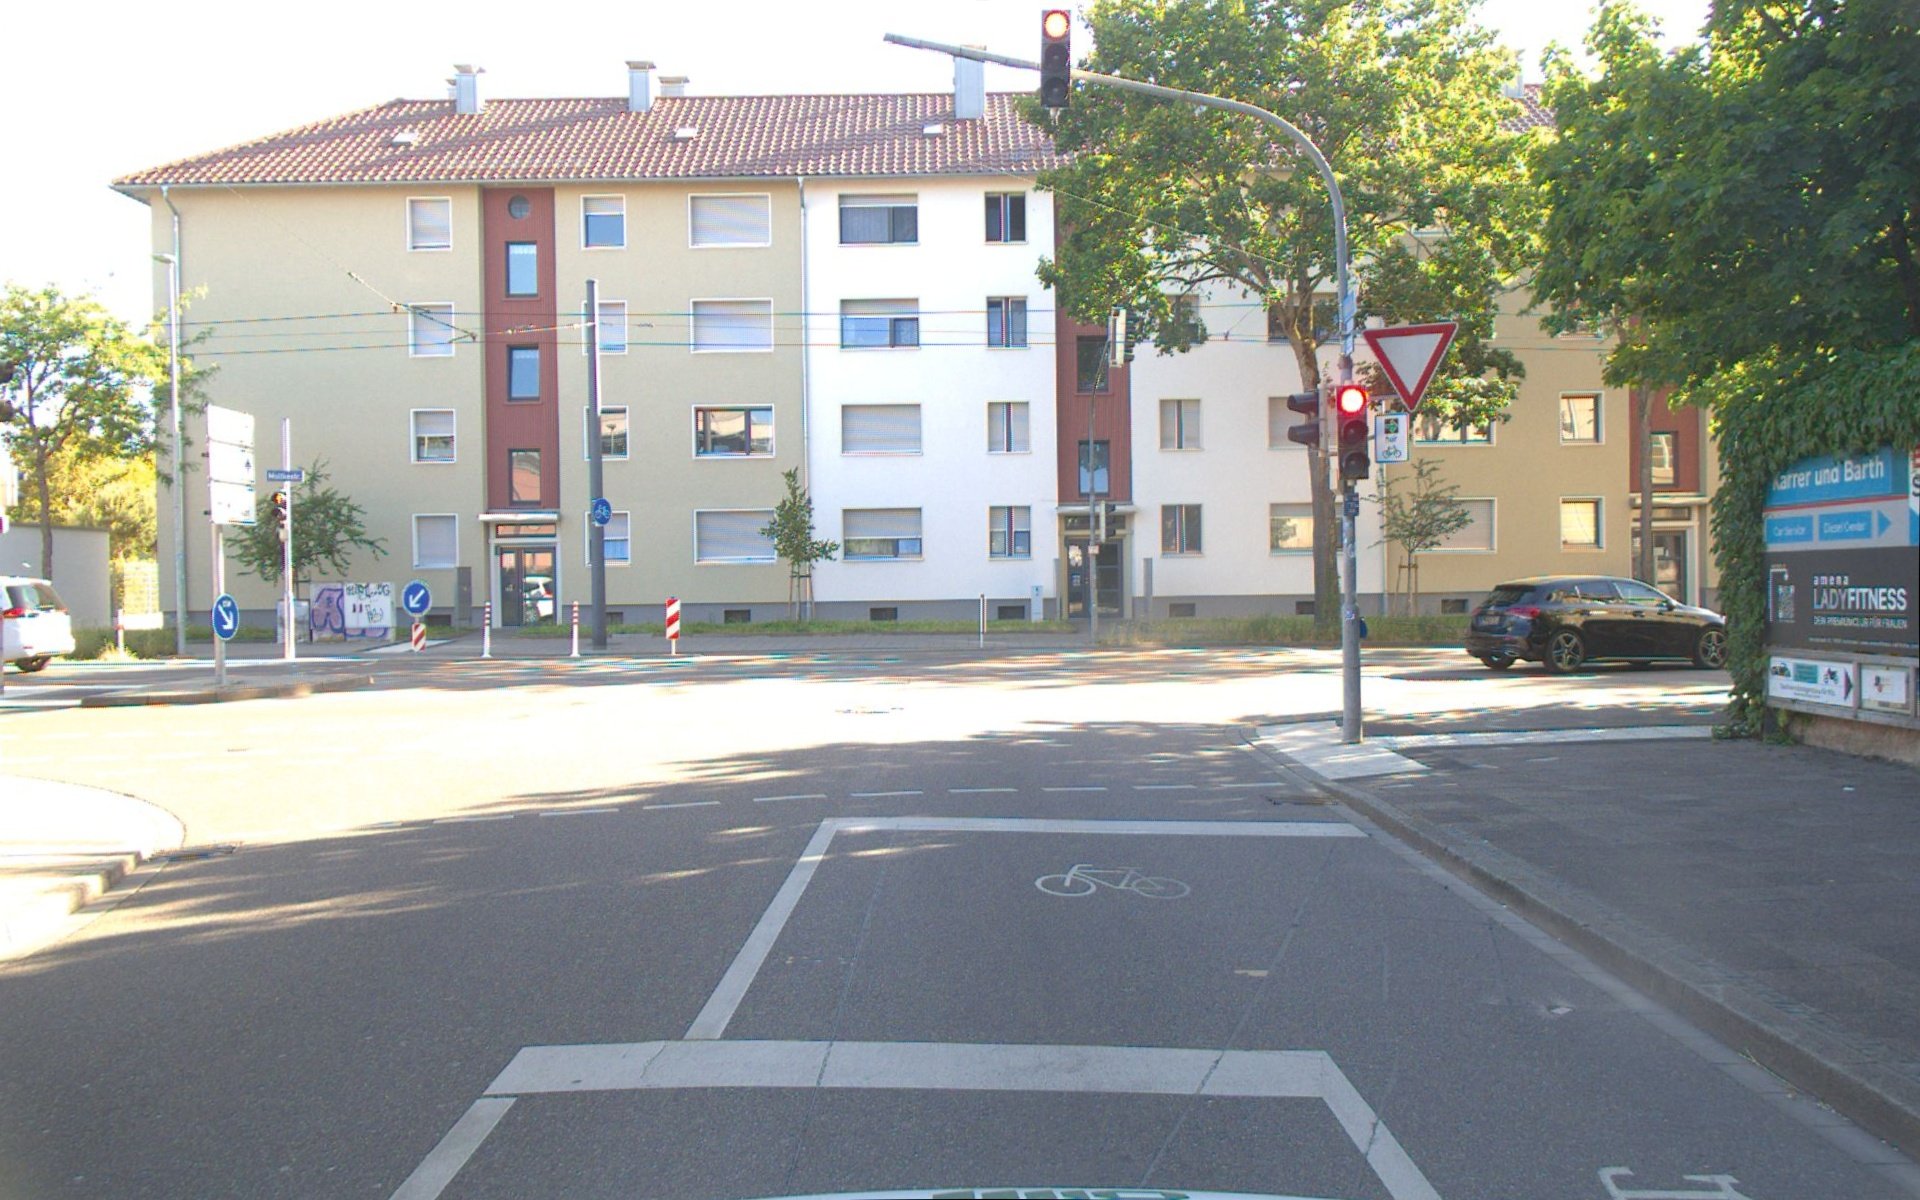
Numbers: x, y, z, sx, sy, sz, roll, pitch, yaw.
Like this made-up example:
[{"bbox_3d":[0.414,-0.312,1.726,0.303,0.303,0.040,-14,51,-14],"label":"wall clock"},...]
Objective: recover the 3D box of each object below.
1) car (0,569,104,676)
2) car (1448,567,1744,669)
[{"bbox_3d":[-17.459,0.380,28.235,4.571,1.769,1.998,-1,1,-5],"label":"car"},{"bbox_3d":[9.713,0.225,25.274,4.136,1.446,1.840,-1,1,-23],"label":"car"}]
